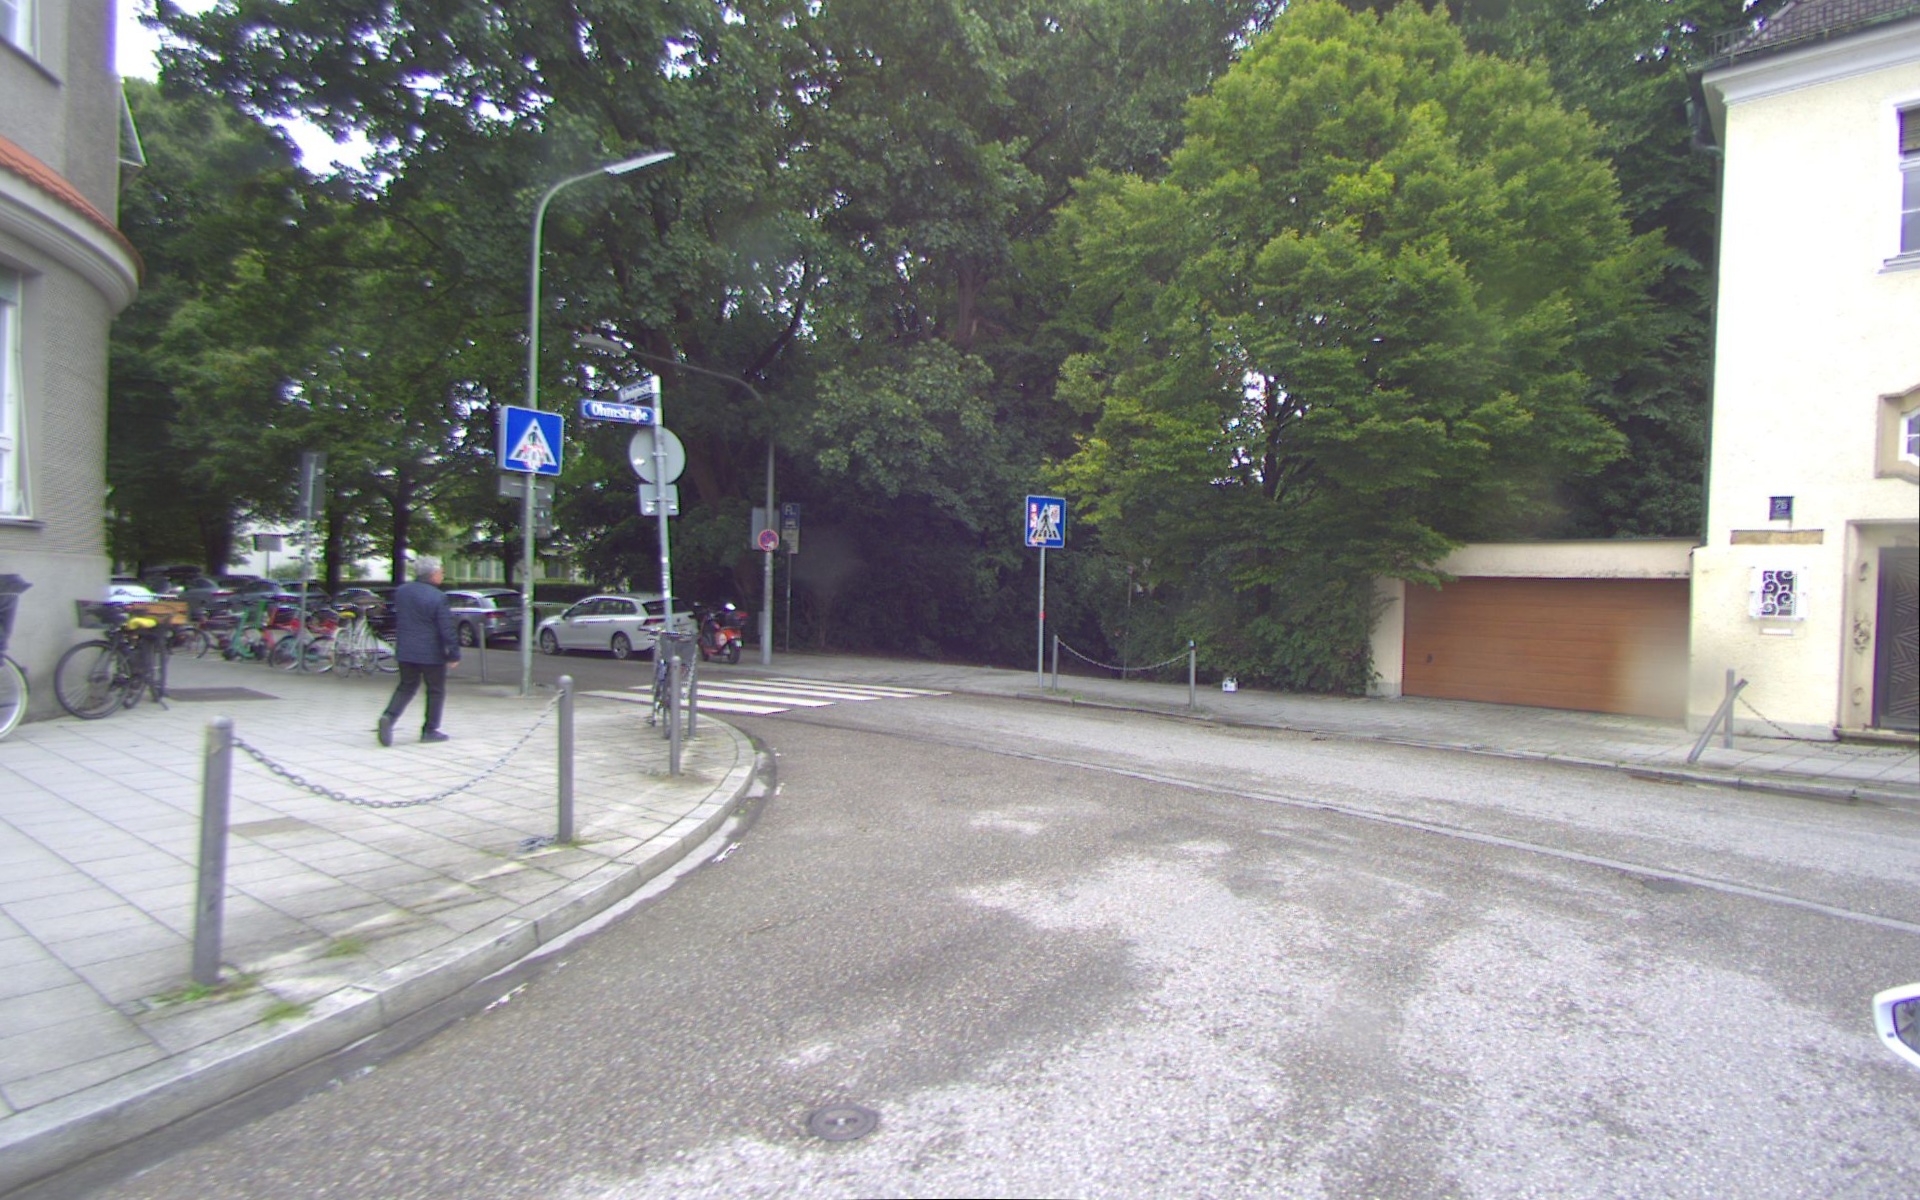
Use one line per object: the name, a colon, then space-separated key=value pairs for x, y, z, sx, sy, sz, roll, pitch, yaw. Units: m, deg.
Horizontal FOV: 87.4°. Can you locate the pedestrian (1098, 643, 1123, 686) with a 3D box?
pedestrian: x=4.259 y=1.818 z=28.341 sx=0.465 sy=1.171 sz=0.494 roll=3 pitch=1 yaw=41

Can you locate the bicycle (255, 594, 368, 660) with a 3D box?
bicycle: x=-11.878 y=0.502 z=18.433 sx=1.670 sy=1.162 sz=0.506 roll=2 pitch=1 yaw=-40

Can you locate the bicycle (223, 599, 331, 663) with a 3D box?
bicycle: x=-13.178 y=0.601 z=19.407 sx=1.670 sy=1.162 sz=0.506 roll=2 pitch=1 yaw=-40

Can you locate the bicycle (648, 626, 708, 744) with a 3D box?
bicycle: x=-2.933 y=0.824 z=10.361 sx=0.504 sy=1.023 sz=2.000 roll=2 pitch=0 yaw=-17

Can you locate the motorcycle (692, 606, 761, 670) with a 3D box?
motorcycle: x=-4.912 y=0.766 z=21.047 sx=0.849 sy=1.200 sz=1.990 roll=-2 pitch=2 yaw=-30

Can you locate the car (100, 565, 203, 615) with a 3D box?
car: x=-31.721 y=-0.395 z=39.374 sx=4.438 sy=1.860 sz=1.773 roll=1 pitch=0 yaw=32

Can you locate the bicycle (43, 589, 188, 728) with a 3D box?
bicycle: x=-8.062 y=0.515 z=9.673 sx=0.558 sy=1.172 sz=1.912 roll=5 pitch=-1 yaw=-27

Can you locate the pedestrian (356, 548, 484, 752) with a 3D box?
pedestrian: x=-4.684 y=0.403 z=8.705 sx=0.802 sy=1.663 sz=0.722 roll=3 pitch=1 yaw=43

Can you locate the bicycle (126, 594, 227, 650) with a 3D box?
bicycle: x=-16.864 y=0.482 z=21.651 sx=1.670 sy=1.162 sz=0.506 roll=2 pitch=1 yaw=-40

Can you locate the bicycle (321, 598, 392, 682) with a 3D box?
bicycle: x=-9.081 y=0.579 z=15.163 sx=0.504 sy=1.162 sz=1.678 roll=2 pitch=0 yaw=-17

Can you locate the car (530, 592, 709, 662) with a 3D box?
car: x=-8.173 y=0.603 z=24.009 sx=4.357 sy=1.468 sz=1.621 roll=1 pitch=0 yaw=31

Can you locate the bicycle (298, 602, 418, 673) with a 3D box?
bicycle: x=-10.364 y=0.649 z=17.323 sx=1.694 sy=1.162 sz=0.506 roll=2 pitch=1 yaw=-40

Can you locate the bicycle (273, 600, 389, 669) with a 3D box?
bicycle: x=-11.044 y=0.605 z=17.664 sx=1.670 sy=1.162 sz=0.461 roll=2 pitch=1 yaw=-40

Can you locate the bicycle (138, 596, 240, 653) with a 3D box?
bicycle: x=-16.275 y=0.524 z=21.225 sx=1.670 sy=1.162 sz=0.506 roll=2 pitch=1 yaw=-40

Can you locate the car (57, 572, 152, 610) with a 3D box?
car: x=-35.874 y=-0.378 z=42.092 sx=4.438 sy=1.451 sz=1.773 roll=1 pitch=0 yaw=32

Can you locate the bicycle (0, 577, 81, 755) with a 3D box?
bicycle: x=-7.318 y=0.468 z=6.905 sx=0.723 sy=1.273 sz=1.927 roll=2 pitch=0 yaw=5

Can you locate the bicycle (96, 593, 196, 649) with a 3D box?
bicycle: x=-17.850 y=0.470 z=22.061 sx=1.670 sy=1.162 sz=0.506 roll=2 pitch=1 yaw=-40

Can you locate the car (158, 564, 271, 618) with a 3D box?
car: x=-27.123 y=-0.343 z=36.523 sx=4.438 sy=1.842 sz=1.773 roll=2 pitch=0 yaw=32

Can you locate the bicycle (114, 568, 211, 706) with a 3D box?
bicycle: x=-9.098 y=0.372 z=11.426 sx=0.733 sy=1.432 sz=1.902 roll=2 pitch=1 yaw=-42

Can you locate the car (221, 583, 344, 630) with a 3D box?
car: x=-22.742 y=0.196 z=33.696 sx=4.438 sy=1.451 sz=1.773 roll=1 pitch=0 yaw=32

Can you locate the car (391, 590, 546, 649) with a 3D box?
car: x=-13.589 y=0.504 z=27.712 sx=4.438 sy=1.451 sz=1.773 roll=1 pitch=0 yaw=32

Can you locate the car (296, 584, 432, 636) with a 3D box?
car: x=-18.486 y=0.281 z=31.105 sx=4.438 sy=1.451 sz=1.773 roll=1 pitch=0 yaw=32

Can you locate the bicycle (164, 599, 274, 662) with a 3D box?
bicycle: x=-14.321 y=0.593 z=19.435 sx=1.670 sy=1.162 sz=0.506 roll=2 pitch=1 yaw=-40
